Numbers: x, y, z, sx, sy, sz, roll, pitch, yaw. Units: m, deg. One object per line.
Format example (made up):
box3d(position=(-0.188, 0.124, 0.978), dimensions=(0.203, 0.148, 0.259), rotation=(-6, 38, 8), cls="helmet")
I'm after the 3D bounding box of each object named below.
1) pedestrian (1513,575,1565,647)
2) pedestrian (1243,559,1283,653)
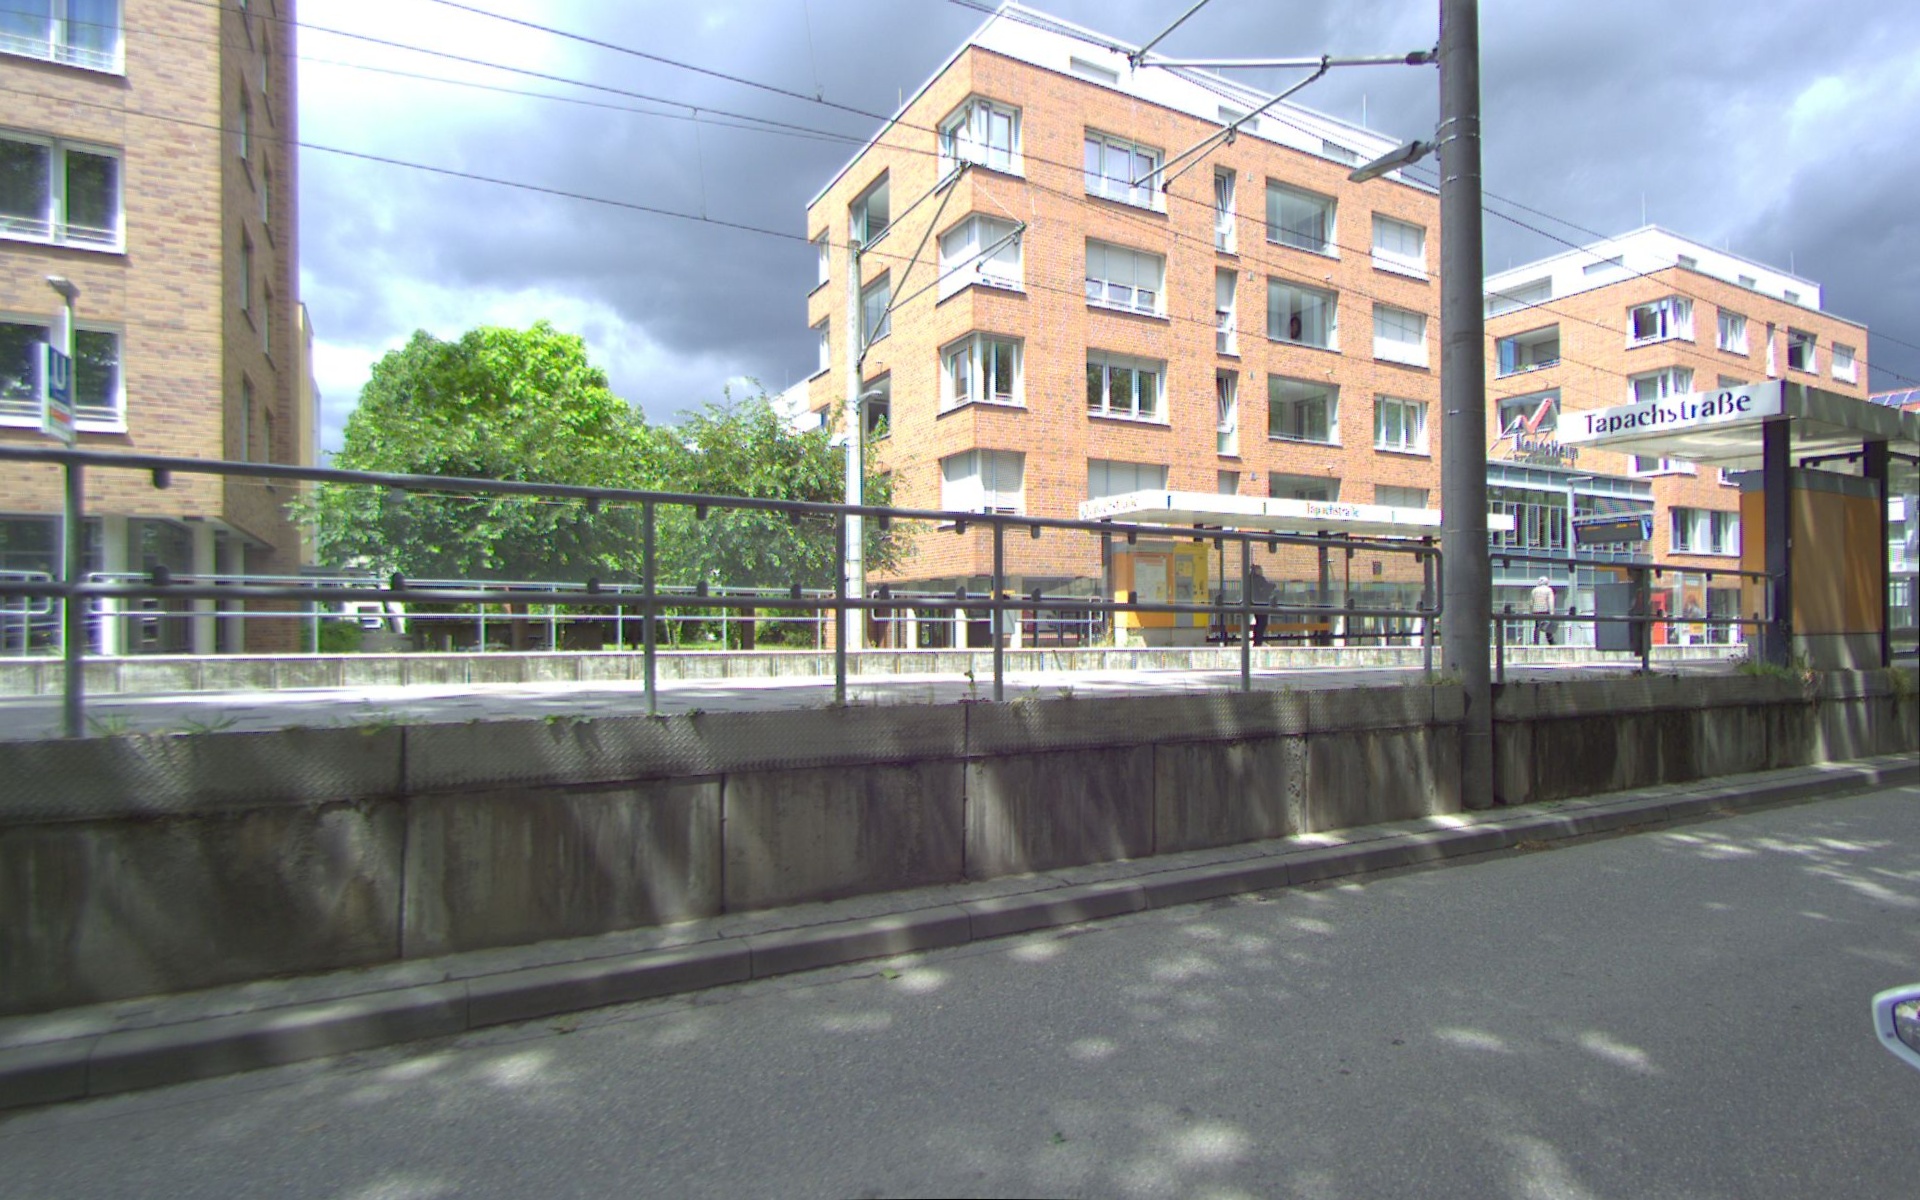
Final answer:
box3d(position=(13.586, 0.250, 23.567), dimensions=(0.806, 1.650, 0.748), rotation=(1, 0, -30), cls="pedestrian")
box3d(position=(5.840, 0.122, 19.364), dimensions=(0.522, 1.787, 0.531), rotation=(1, -1, -32), cls="pedestrian")
